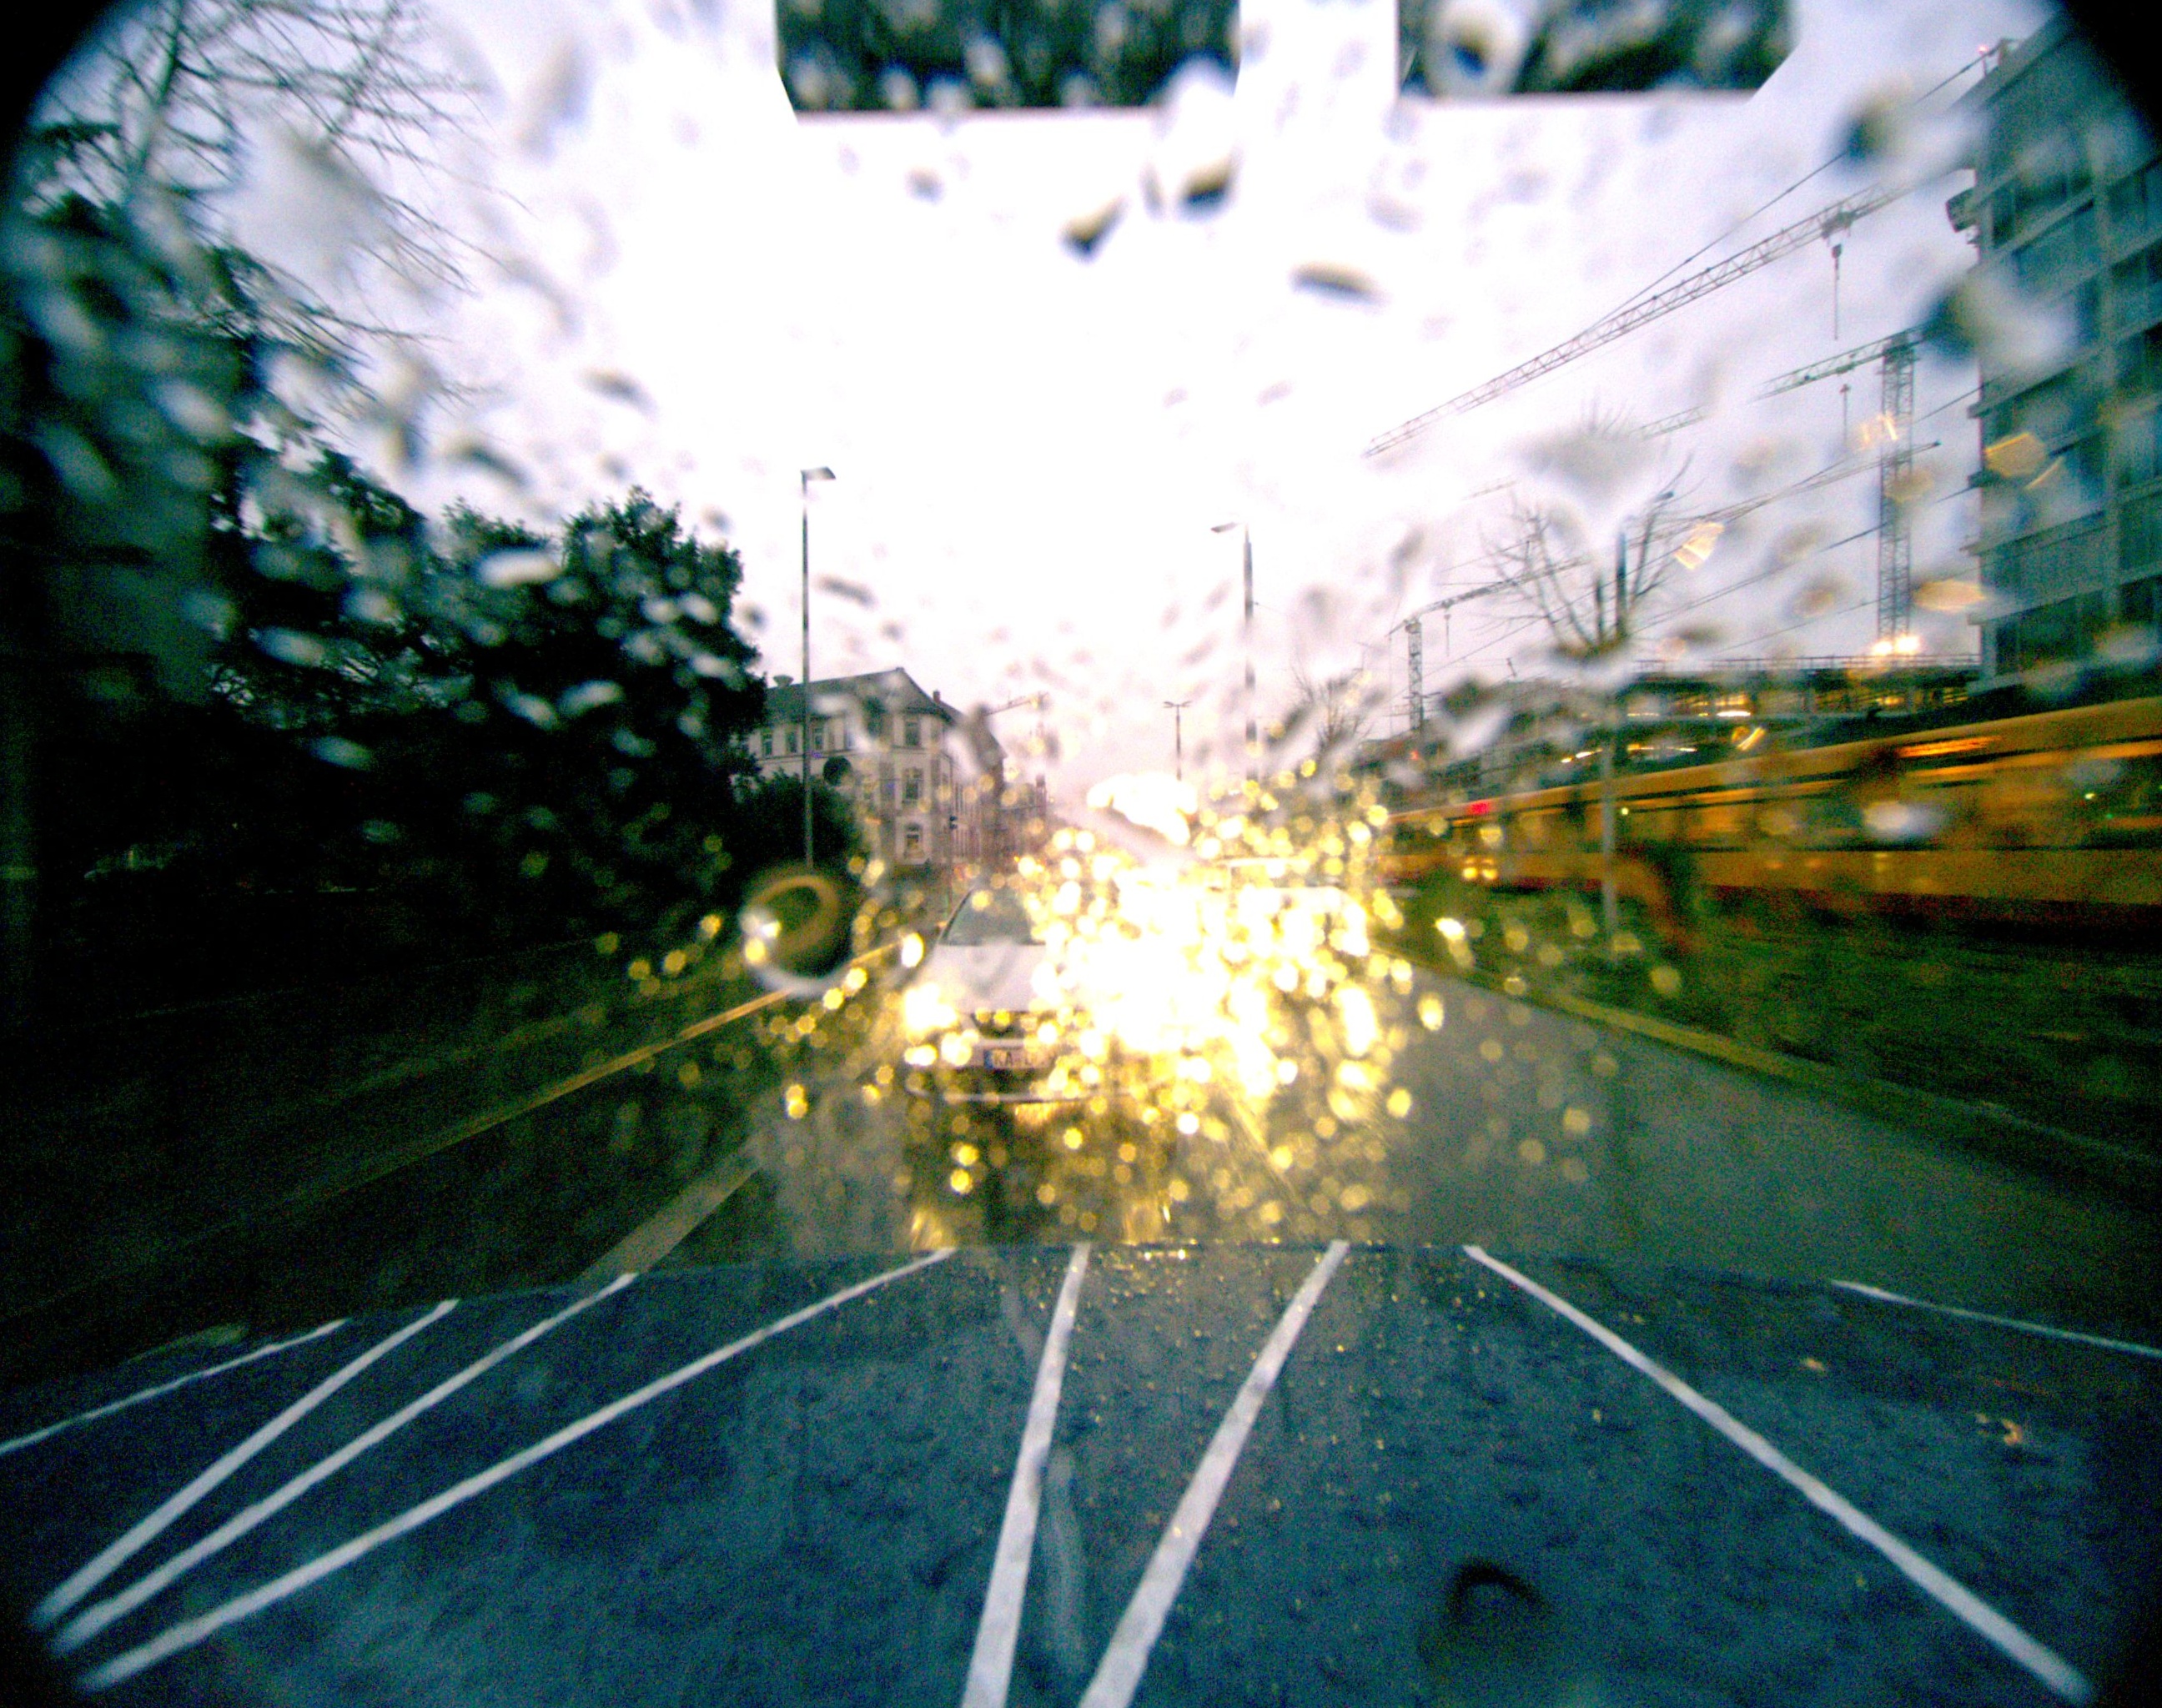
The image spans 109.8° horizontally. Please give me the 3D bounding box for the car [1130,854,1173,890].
[{"bbox_3d":[3.096,0.762,33.795,1.766,1.363,3.982,-2,1,4],"label":"car"}]

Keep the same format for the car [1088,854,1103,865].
[{"bbox_3d":[2.059,0.811,108.064,1.766,1.363,3.982,-2,1,6],"label":"car"}]

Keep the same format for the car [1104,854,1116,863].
[{"bbox_3d":[4.624,0.724,121.297,1.767,1.363,3.981,-2,1,3],"label":"car"}]

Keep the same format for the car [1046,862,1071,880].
[{"bbox_3d":[-1.864,1.397,64.561,1.875,1.403,4.000,-1,0,2],"label":"car"}]

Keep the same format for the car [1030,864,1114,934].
[{"bbox_3d":[-0.177,0.981,18.102,1.728,1.318,3.981,-2,1,0],"label":"car"}]

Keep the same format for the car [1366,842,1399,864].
[{"bbox_3d":[28.904,-0.086,73.034,1.997,2.002,4.002,-1,0,8],"label":"car"}]

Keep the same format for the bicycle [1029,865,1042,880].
[{"bbox_3d":[-2.928,1.182,48.997,0.647,0.961,2.046,-1,0,1],"label":"bicycle"}]

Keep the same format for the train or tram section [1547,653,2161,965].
[{"bbox_3d":[13.665,-0.533,13.066,2.964,3.466,14.267,-1,0,2],"label":"train or tram section"}]

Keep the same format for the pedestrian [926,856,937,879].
[{"bbox_3d":[-9.986,0.898,50.700,0.522,1.501,0.586,-1,1,-26],"label":"pedestrian"}]

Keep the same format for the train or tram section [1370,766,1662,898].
[{"bbox_3d":[14.329,-0.601,27.417,2.964,3.466,14.320,-1,0,3],"label":"train or tram section"}]

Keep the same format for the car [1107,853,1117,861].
[{"bbox_3d":[5.782,0.492,141.360,1.767,1.363,3.981,-2,1,3],"label":"car"}]

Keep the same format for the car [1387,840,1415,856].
[{"bbox_3d":[35.753,-0.634,84.974,1.911,1.733,4.002,-1,0,8],"label":"car"}]

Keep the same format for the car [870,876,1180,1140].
[{"bbox_3d":[-0.326,0.978,6.538,1.798,1.363,3.981,-2,1,0],"label":"car"}]

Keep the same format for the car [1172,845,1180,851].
[{"bbox_3d":[30.238,-1.981,242.374,1.998,2.002,4.000,-1,0,1],"label":"car"}]

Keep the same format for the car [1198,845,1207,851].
[{"bbox_3d":[34.241,-1.640,214.908,1.998,1.812,4.000,-1,0,2],"label":"car"}]

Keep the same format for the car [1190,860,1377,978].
[{"bbox_3d":[2.992,0.872,12.300,1.851,1.397,4.614,-2,1,1],"label":"car"}]

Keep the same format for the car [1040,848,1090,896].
[{"bbox_3d":[-0.583,0.651,29.916,1.781,1.666,3.981,-2,1,0],"label":"car"}]

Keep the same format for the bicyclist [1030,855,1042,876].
[{"bbox_3d":[-2.918,0.739,49.161,0.647,1.381,0.890,-1,1,1],"label":"bicyclist"}]
